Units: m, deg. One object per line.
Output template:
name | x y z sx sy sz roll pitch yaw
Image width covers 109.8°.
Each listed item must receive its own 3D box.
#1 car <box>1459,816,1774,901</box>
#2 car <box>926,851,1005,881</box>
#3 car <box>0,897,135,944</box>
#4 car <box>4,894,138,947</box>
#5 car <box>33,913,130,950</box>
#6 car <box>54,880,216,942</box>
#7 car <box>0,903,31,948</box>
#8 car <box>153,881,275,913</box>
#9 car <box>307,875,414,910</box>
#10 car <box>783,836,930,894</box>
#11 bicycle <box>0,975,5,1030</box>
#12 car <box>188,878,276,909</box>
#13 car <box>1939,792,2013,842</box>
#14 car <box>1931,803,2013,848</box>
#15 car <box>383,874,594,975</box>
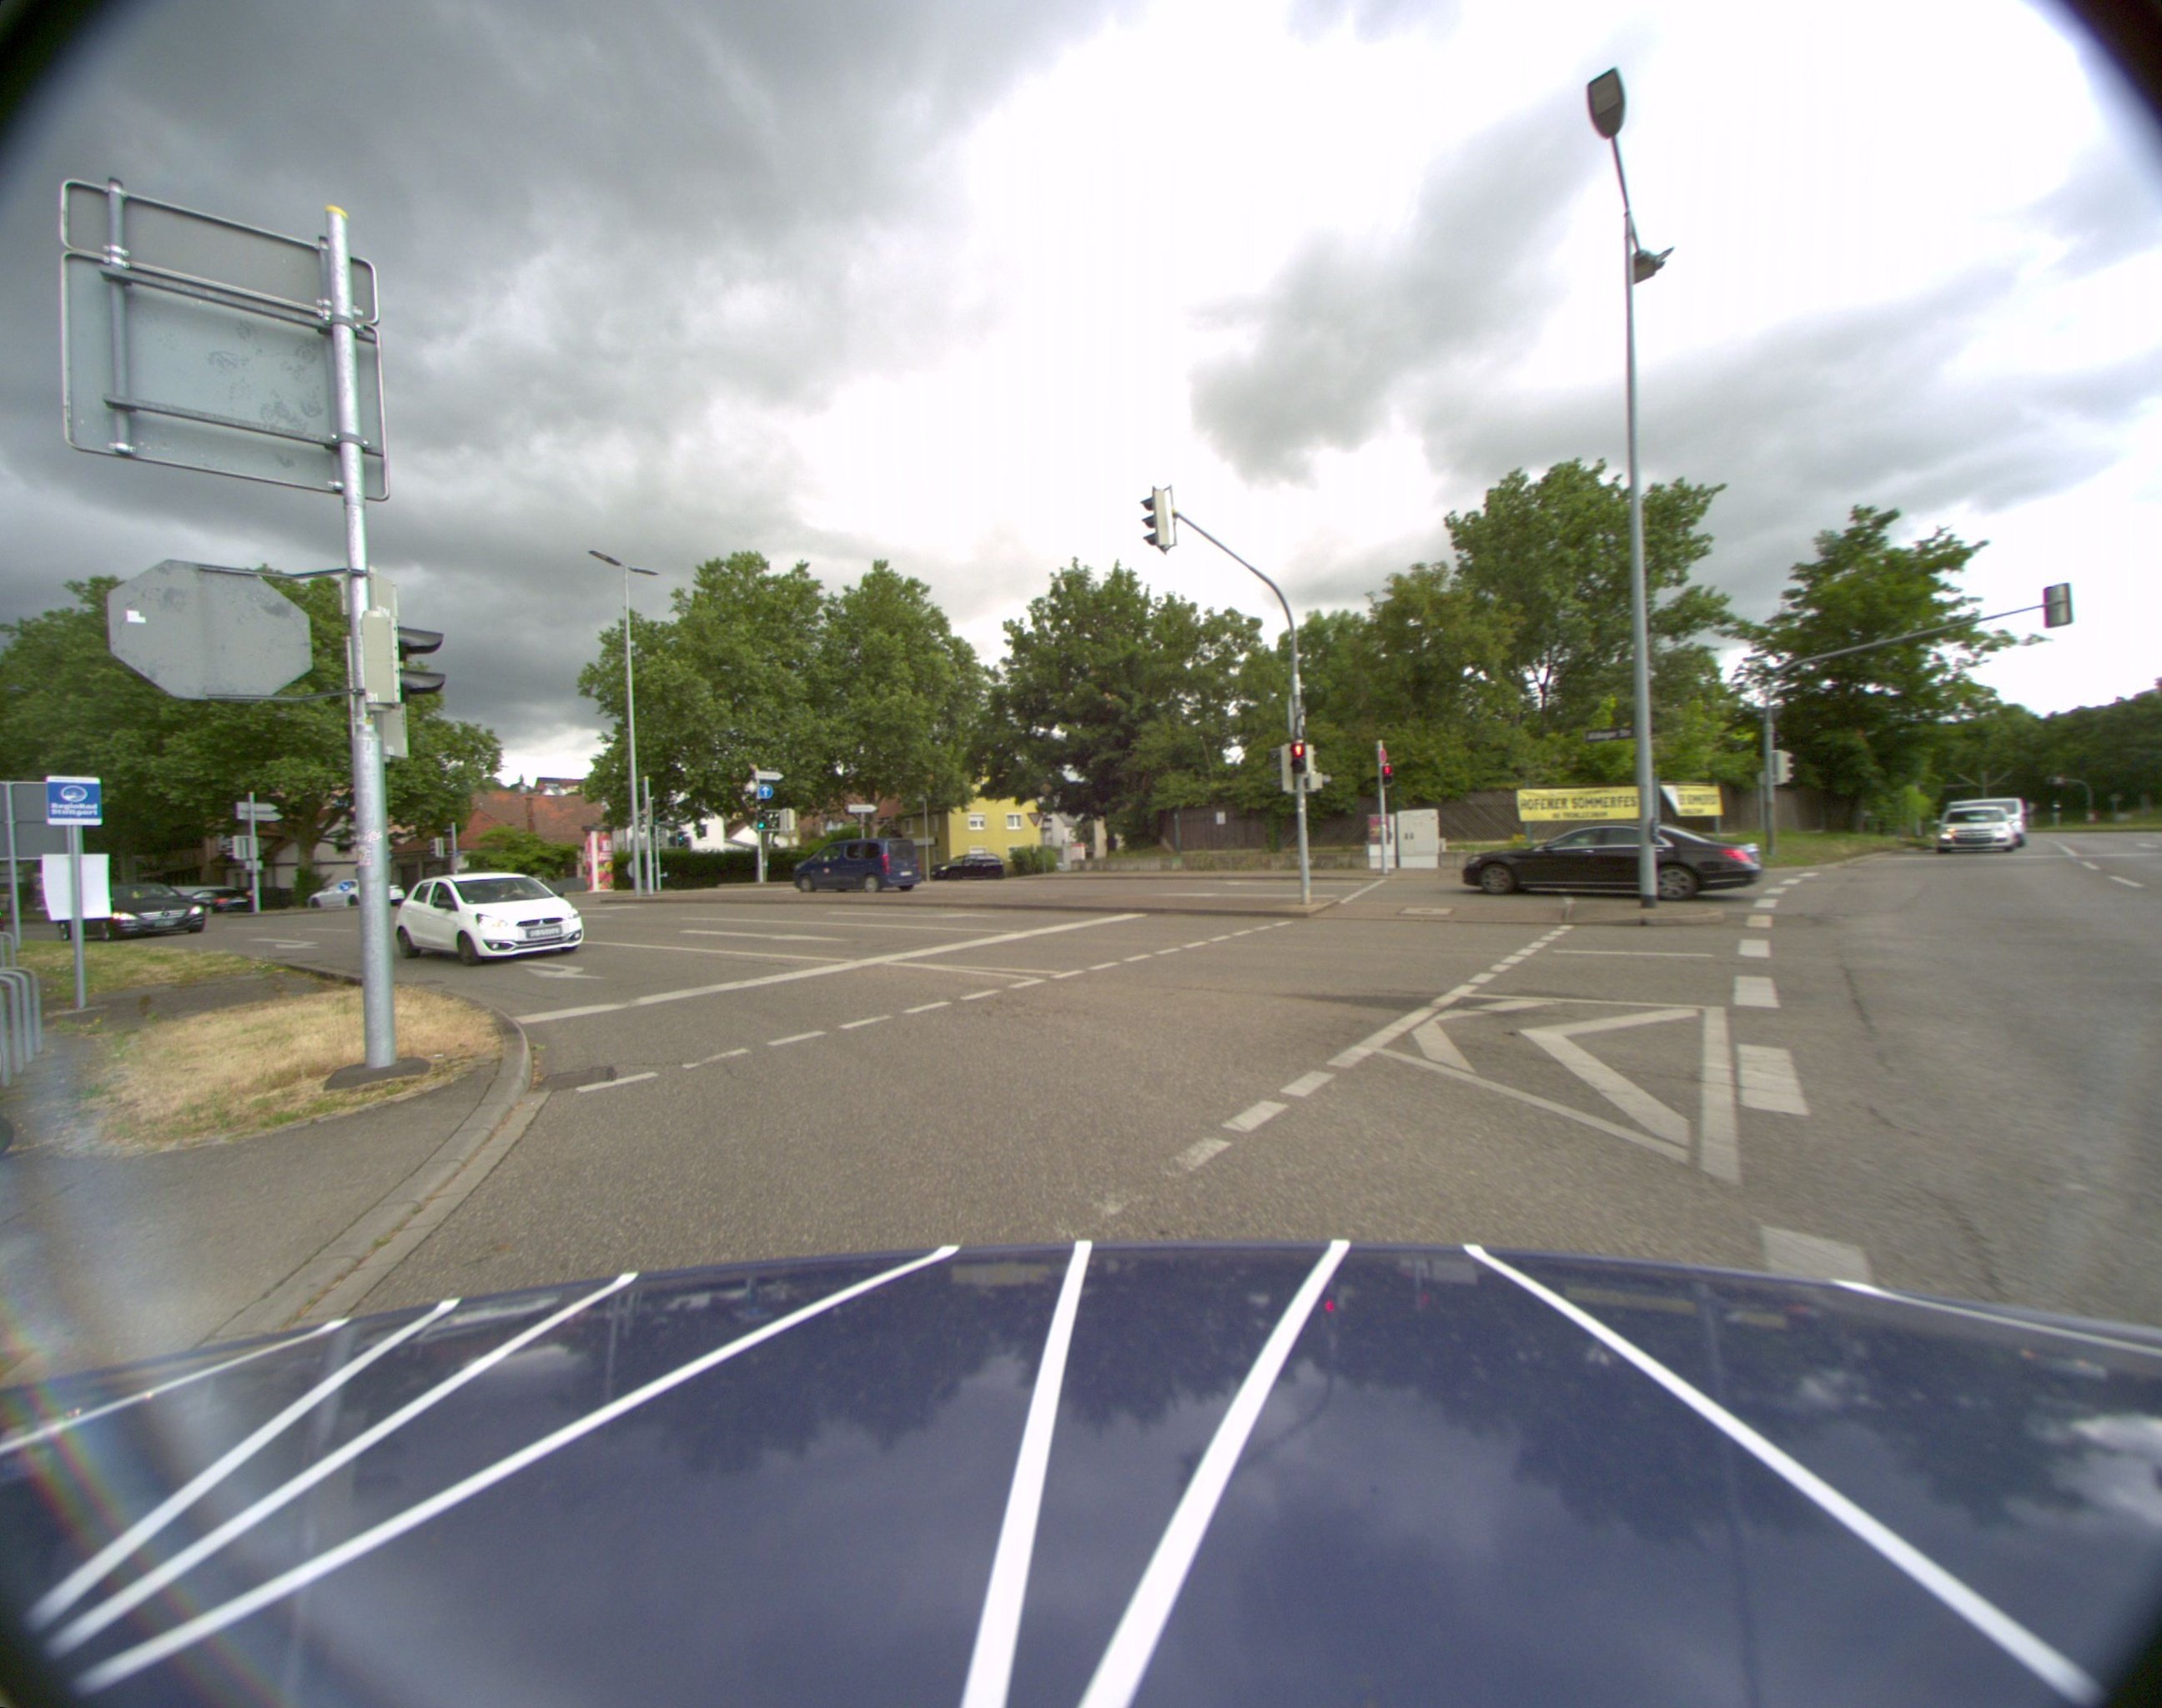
car | 10.676 0.055 15.497 1.834 1.442 4.980 -4 2 -43
car | -7.337 0.773 48.585 4.599 1.642 1.807 -3 1 -37
car | -40.628 2.625 30.468 4.498 1.608 1.899 -1 2 19
car | -32.273 2.108 24.283 3.632 1.424 1.799 -3 1 25
car | -46.438 3.573 35.300 3.574 1.422 1.674 -1 2 20
car | -27.146 1.637 21.802 4.177 1.522 1.724 -3 1 23
car | -42.024 2.728 28.455 4.498 1.608 1.899 -1 2 19
car | -55.192 2.683 48.538 1.729 1.689 4.894 -1 0 9
car | -34.217 1.816 36.115 4.110 1.331 1.813 -3 3 18
car | -7.373 0.363 24.933 4.465 1.696 1.834 -1 3 26
bicycle | -13.938 1.636 8.668 0.580 1.110 1.817 0 3 30
car | -43.573 2.032 39.006 3.991 1.439 1.734 -2 1 23
car | 35.514 -1.474 30.159 4.007 1.815 1.805 -3 1 -40
car | 30.401 -0.985 26.000 4.007 1.410 1.716 -3 2 -41
car | -10.572 1.153 13.526 3.595 1.440 1.677 0 3 31
